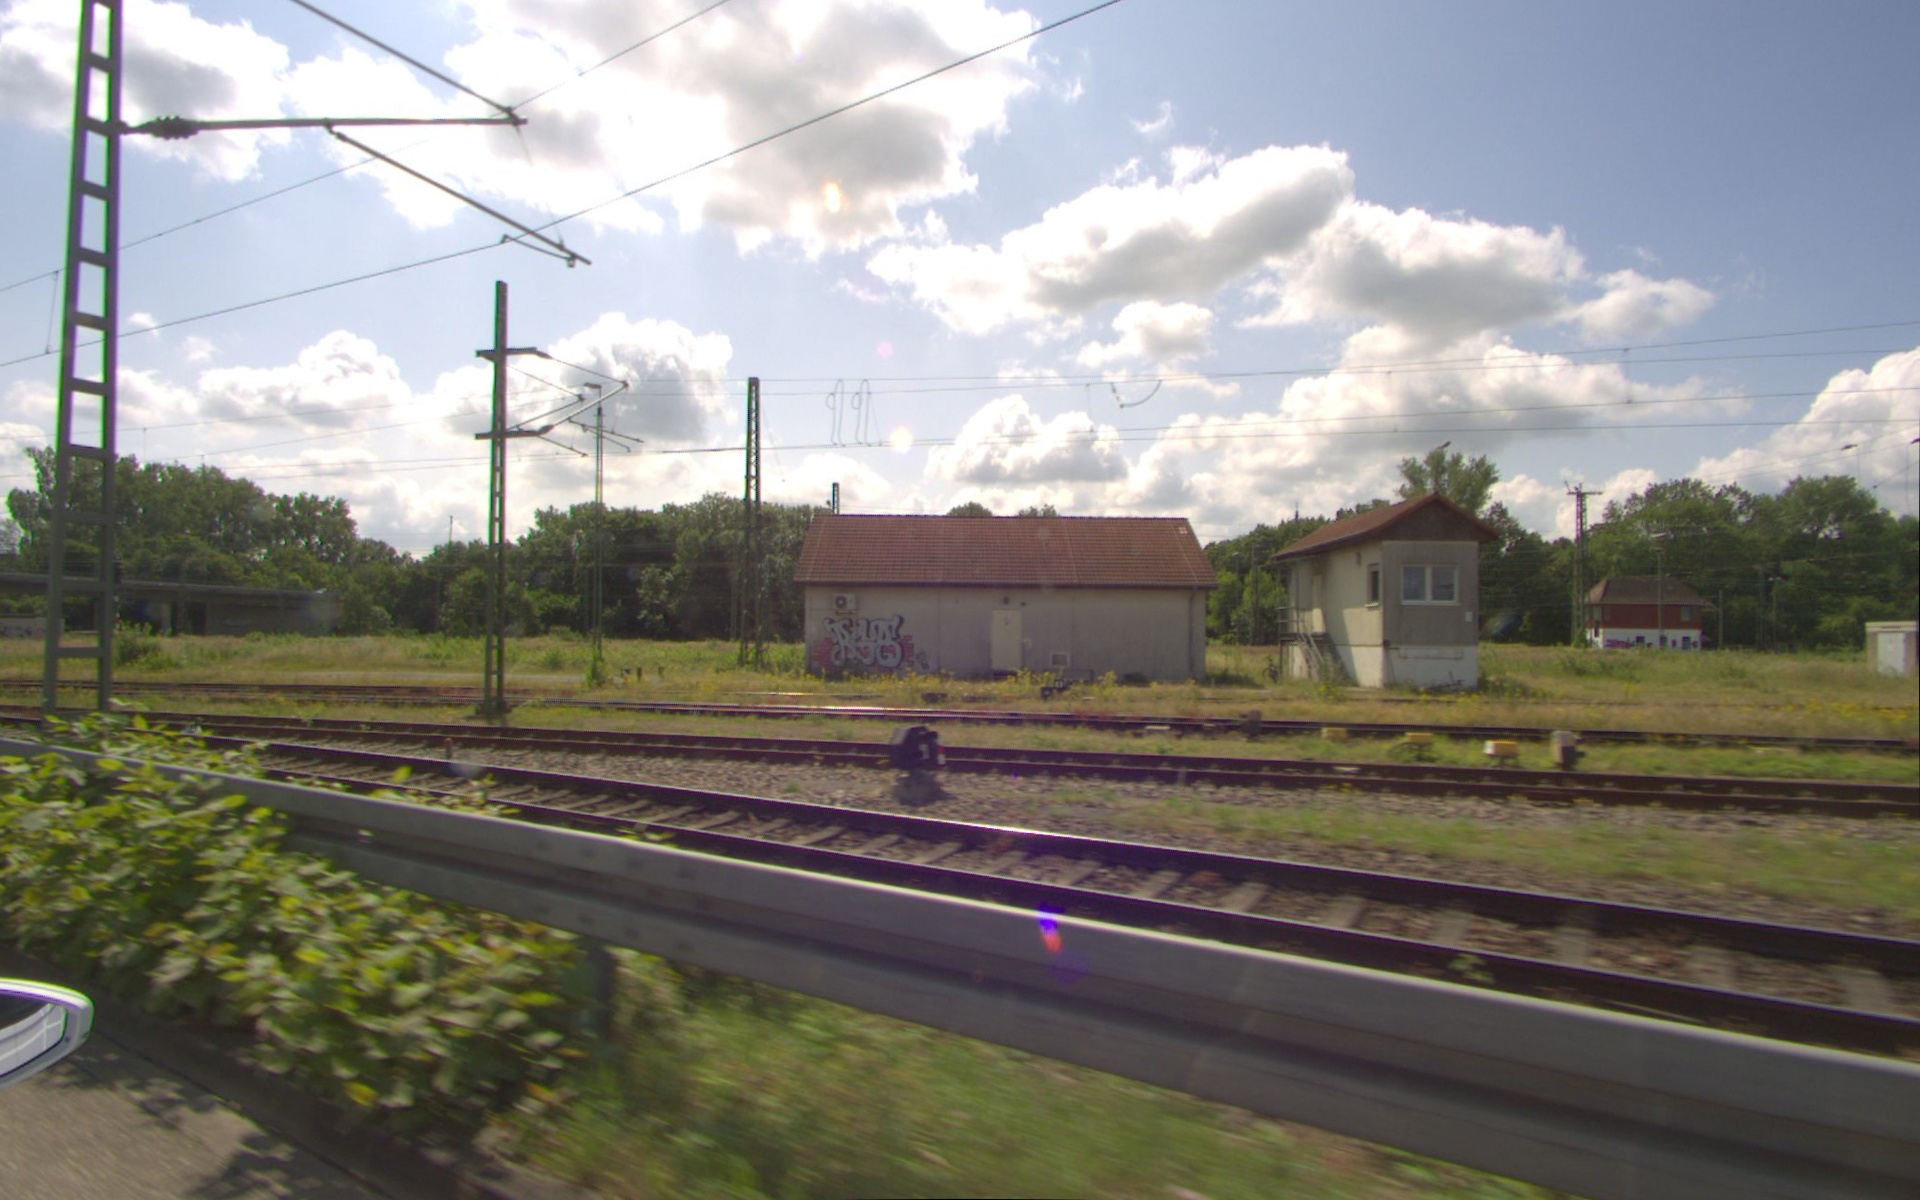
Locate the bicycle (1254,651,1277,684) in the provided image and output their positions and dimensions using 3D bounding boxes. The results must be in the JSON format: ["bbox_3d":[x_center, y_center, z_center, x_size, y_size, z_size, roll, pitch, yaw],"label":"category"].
[{"bbox_3d":[11.787,2.586,38.644,0.404,1.219,1.875,1,-2,3],"label":"bicycle"}]
